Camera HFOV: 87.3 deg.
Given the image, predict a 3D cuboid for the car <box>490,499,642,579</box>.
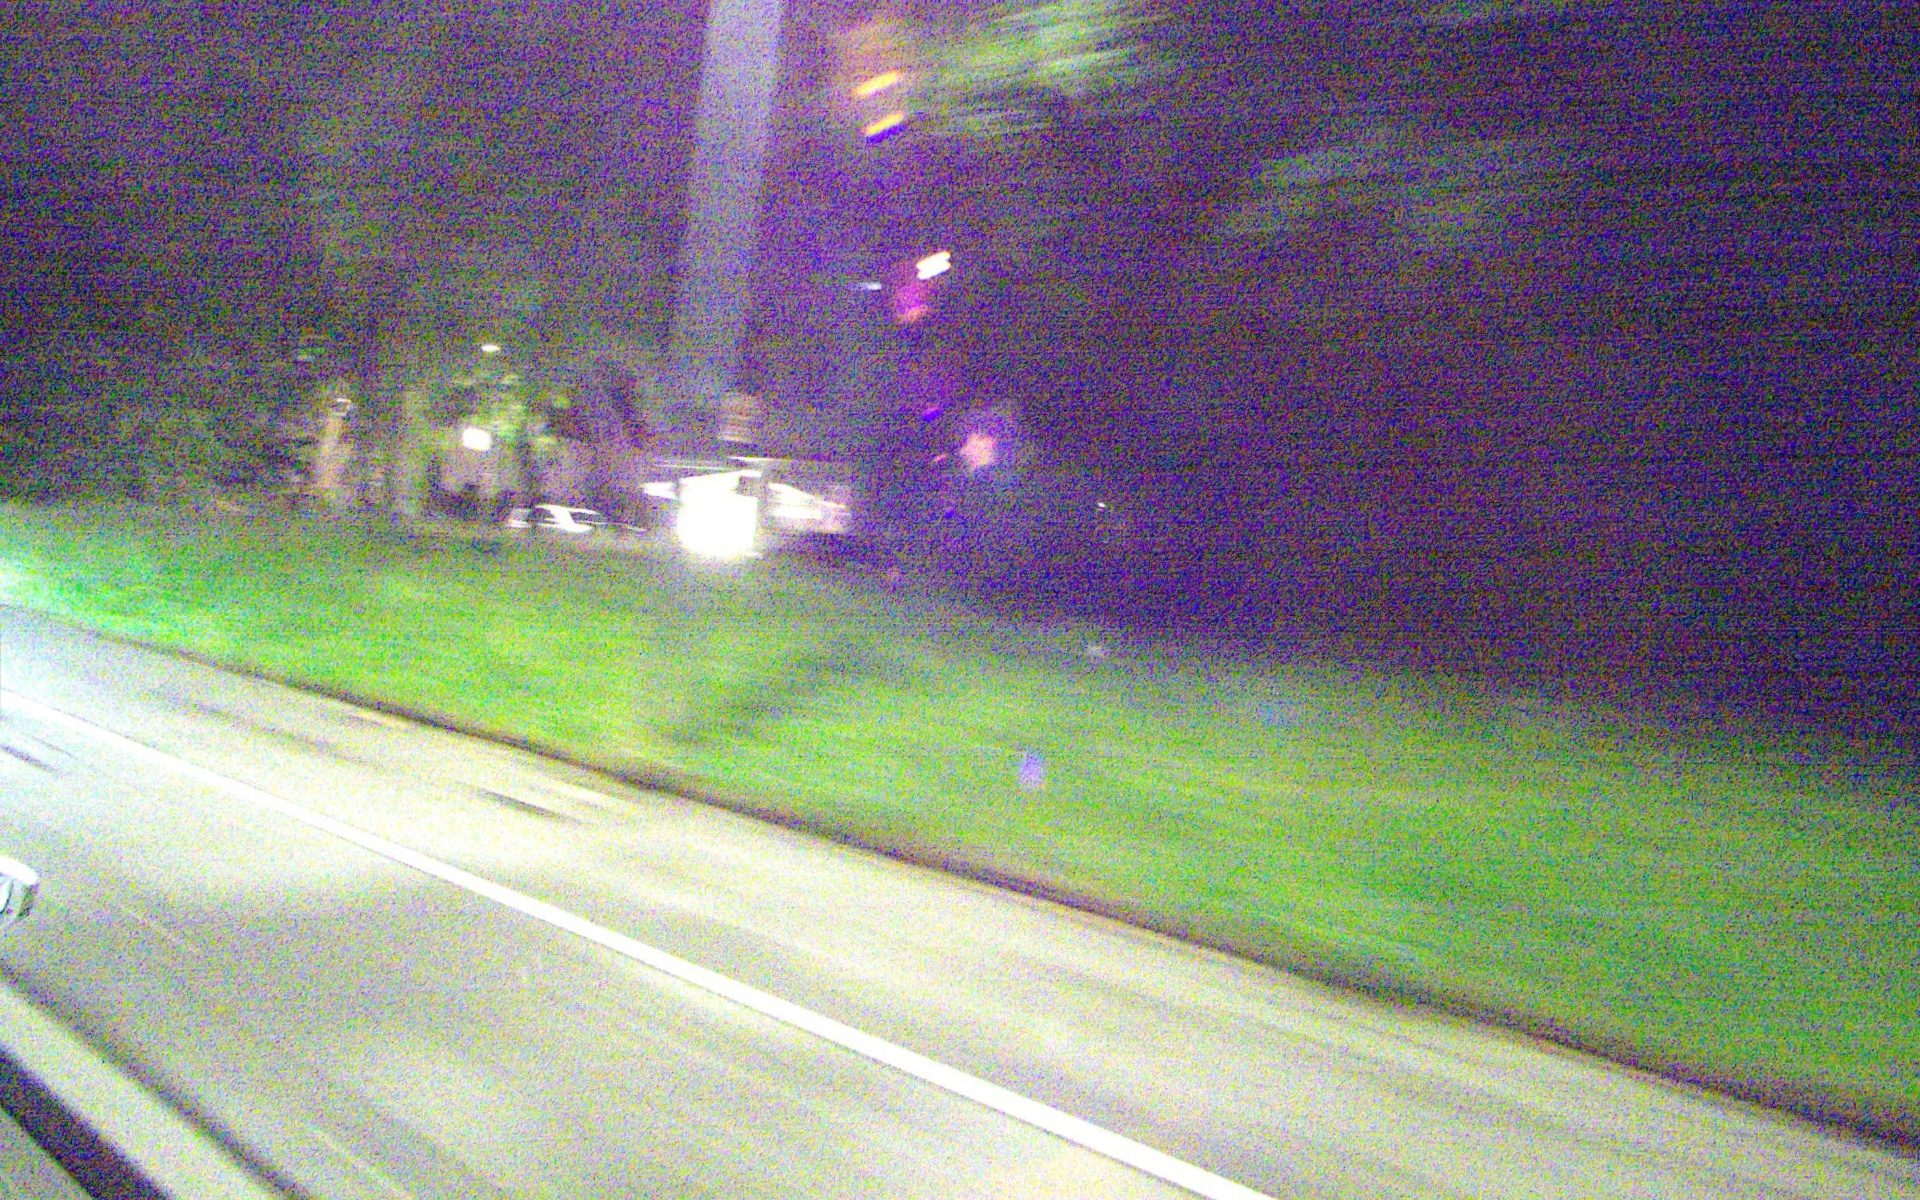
[{"bbox_3d":[-11.286,-1.742,28.755,4.047,1.862,1.951,7,2,33],"label":"car"}]
